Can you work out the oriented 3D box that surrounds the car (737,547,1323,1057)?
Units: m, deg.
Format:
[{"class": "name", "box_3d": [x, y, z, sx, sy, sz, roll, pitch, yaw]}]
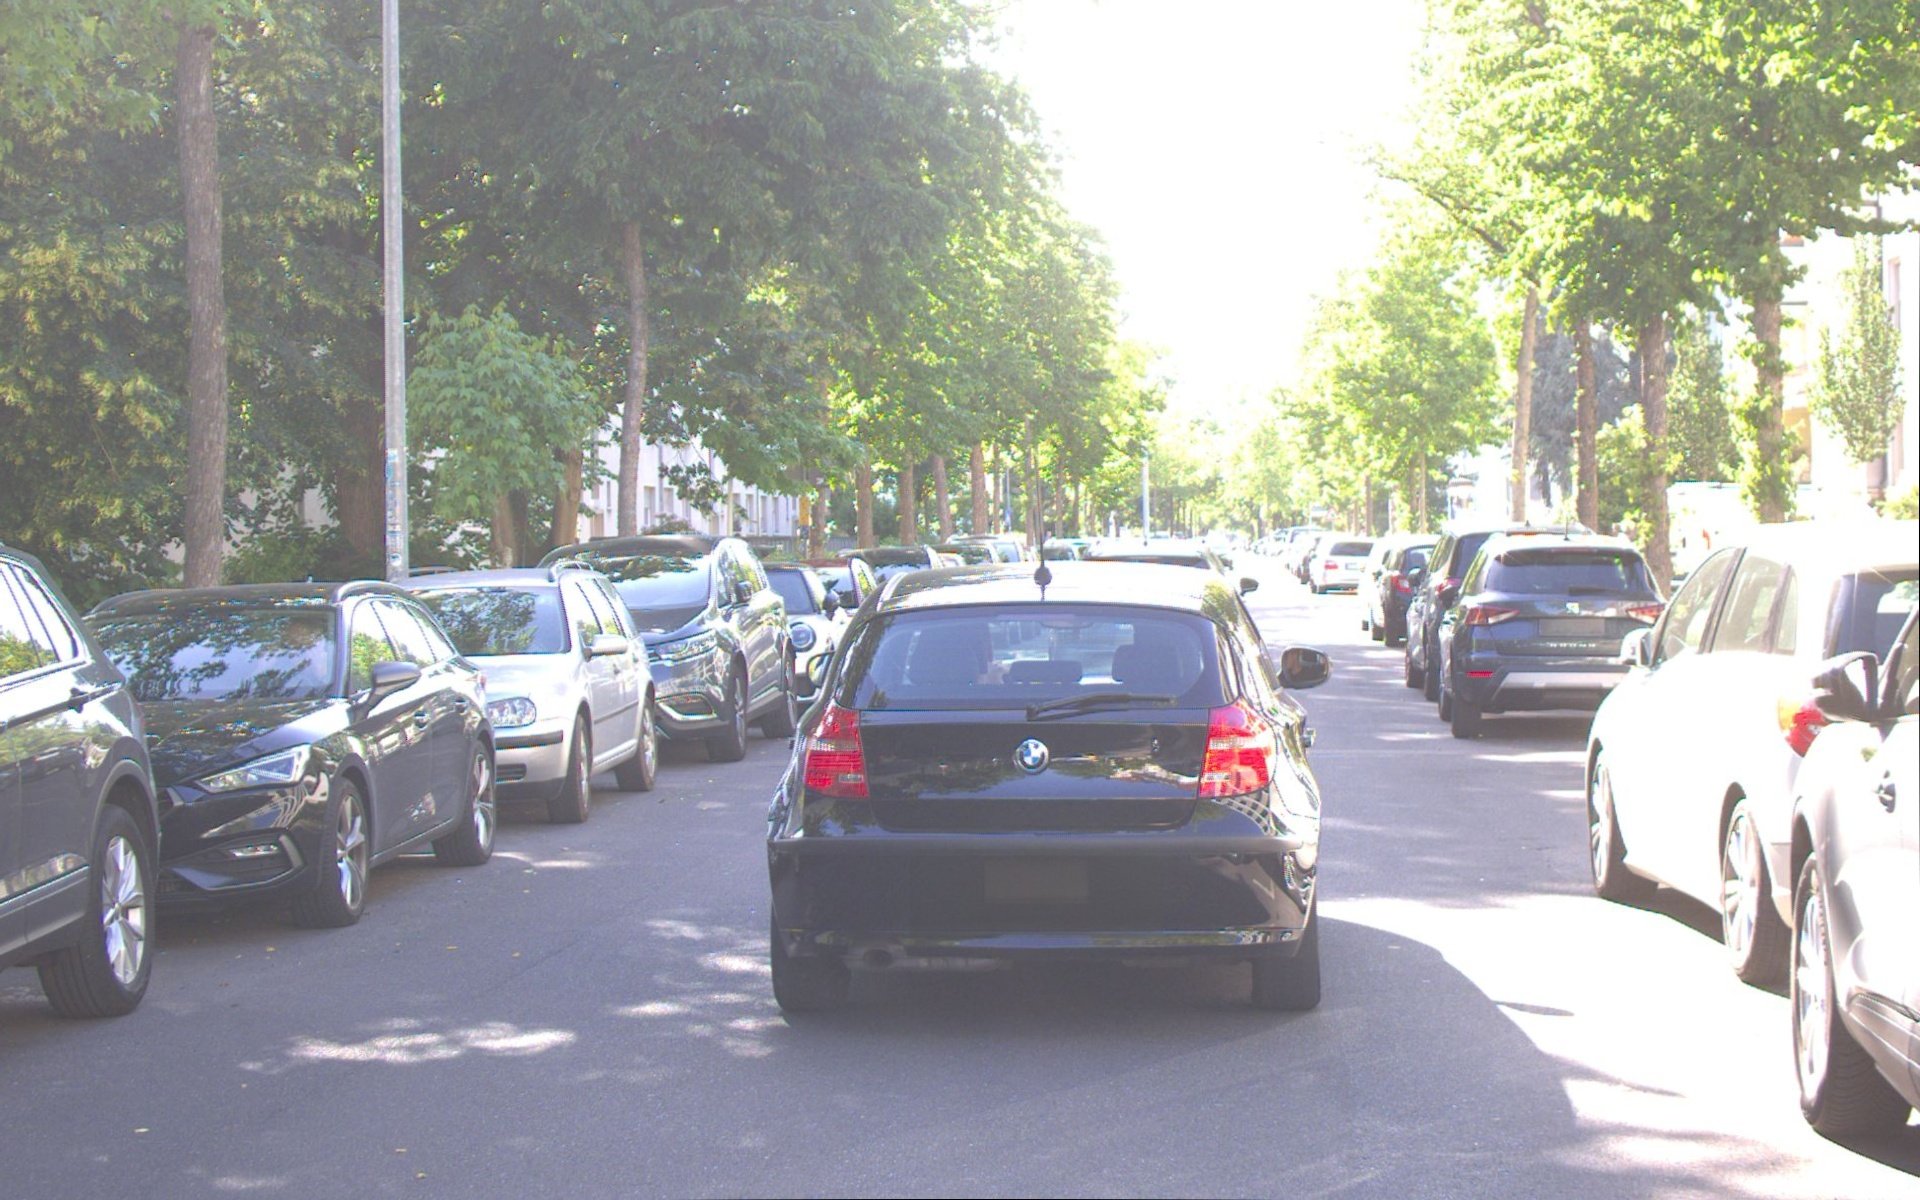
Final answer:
[{"class": "car", "box_3d": [0.216, 0.556, 11.590, 1.649, 1.392, 3.412, -2, 1, 1]}]

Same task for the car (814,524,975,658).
[{"class": "car", "box_3d": [-0.778, -0.145, 43.065, 1.612, 1.537, 3.865, -2, 1, 4]}]

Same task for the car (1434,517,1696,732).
[{"class": "car", "box_3d": [4.674, 0.126, 27.008, 1.721, 1.523, 3.999, 1, 2, 6]}]

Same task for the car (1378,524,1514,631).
[{"class": "car", "box_3d": [6.748, -0.345, 48.025, 1.721, 1.374, 3.850, 1, 2, 6]}]

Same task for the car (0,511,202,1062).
[{"class": "car", "box_3d": [-3.624, 0.569, 10.128, 1.612, 1.606, 4.229, -2, 1, 3]}]

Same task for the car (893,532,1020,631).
[{"class": "car", "box_3d": [-0.015, -0.310, 52.489, 1.612, 1.387, 3.865, -2, 1, 4]}]

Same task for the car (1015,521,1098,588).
[{"class": "car", "box_3d": [2.171, -1.027, 76.587, 1.612, 1.387, 3.865, -2, 1, 4]}]

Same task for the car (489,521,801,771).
[{"class": "car", "box_3d": [-2.281, 0.269, 25.910, 1.612, 1.673, 4.234, -2, 1, 4]}]

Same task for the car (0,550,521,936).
[{"class": "car", "box_3d": [-3.199, 0.537, 15.420, 1.612, 1.422, 4.058, -2, 1, 4]}]

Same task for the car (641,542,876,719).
[{"class": "car", "box_3d": [-1.786, 0.235, 31.592, 1.612, 1.447, 3.865, -2, 1, 4]}]

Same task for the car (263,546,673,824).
[{"class": "car", "box_3d": [-2.825, 0.434, 20.500, 1.612, 1.422, 3.725, -2, 1, 4]}]

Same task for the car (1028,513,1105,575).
[{"class": "car", "box_3d": [2.563, -1.347, 81.993, 1.612, 1.387, 3.865, -2, 1, 4]}]

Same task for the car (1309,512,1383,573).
[{"class": "car", "box_3d": [9.898, -1.499, 87.968, 1.721, 1.475, 3.850, -2, 1, 8]}]

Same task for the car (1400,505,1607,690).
[{"class": "car", "box_3d": [5.157, -0.076, 32.993, 1.721, 1.635, 3.850, 1, 2, 6]}]

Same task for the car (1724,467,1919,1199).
[{"class": "car", "box_3d": [2.731, 0.561, 6.978, 1.848, 1.625, 4.409, 0, 1, 7]}]

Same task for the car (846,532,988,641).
[{"class": "car", "box_3d": [-0.563, -0.218, 47.995, 1.612, 1.387, 3.865, -2, 1, 4]}]

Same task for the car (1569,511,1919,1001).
[{"class": "car", "box_3d": [3.403, 0.436, 12.633, 1.693, 1.518, 4.000, 0, 1, 1]}]

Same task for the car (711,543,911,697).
[{"class": "car", "box_3d": [-1.512, 0.167, 36.197, 1.612, 1.447, 3.865, -2, 1, 4]}]

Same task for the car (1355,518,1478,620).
[{"class": "car", "box_3d": [6.977, -0.508, 52.809, 1.721, 1.475, 3.850, 1, 2, 6]}]

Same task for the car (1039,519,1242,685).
[{"class": "car", "box_3d": [1.764, -0.022, 32.597, 1.650, 1.420, 4.000, -1, 1, 6]}]
